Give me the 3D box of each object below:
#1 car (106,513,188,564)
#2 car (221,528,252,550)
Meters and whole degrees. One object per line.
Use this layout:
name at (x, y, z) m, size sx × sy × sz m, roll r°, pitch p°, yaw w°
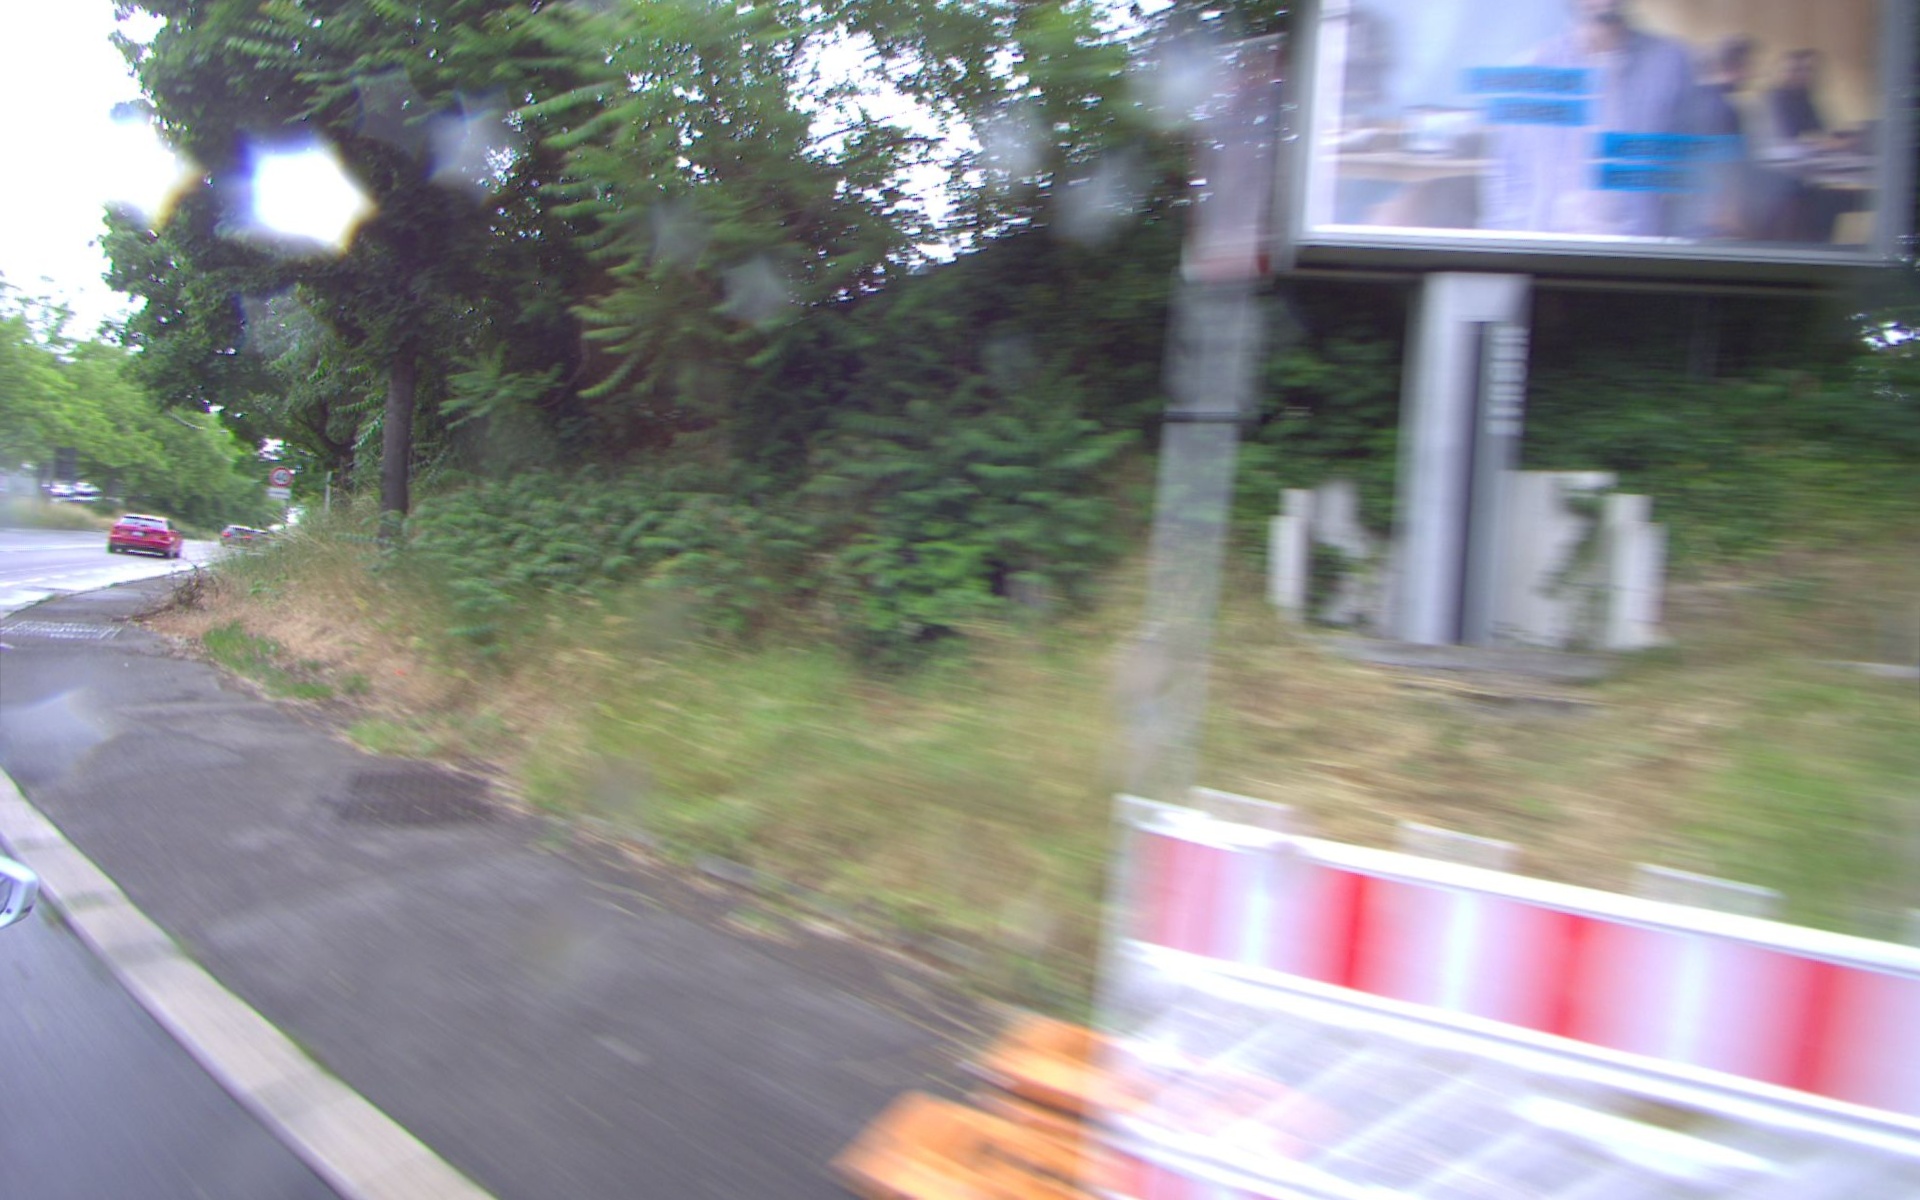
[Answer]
car at (-28.780, -2.138, 35.703) m, size 1.681 × 1.442 × 3.343 m, roll 8°, pitch -3°, yaw -31°
car at (-46.283, -3.858, 64.354) m, size 1.333 × 1.153 × 2.273 m, roll 6°, pitch -2°, yaw -31°
